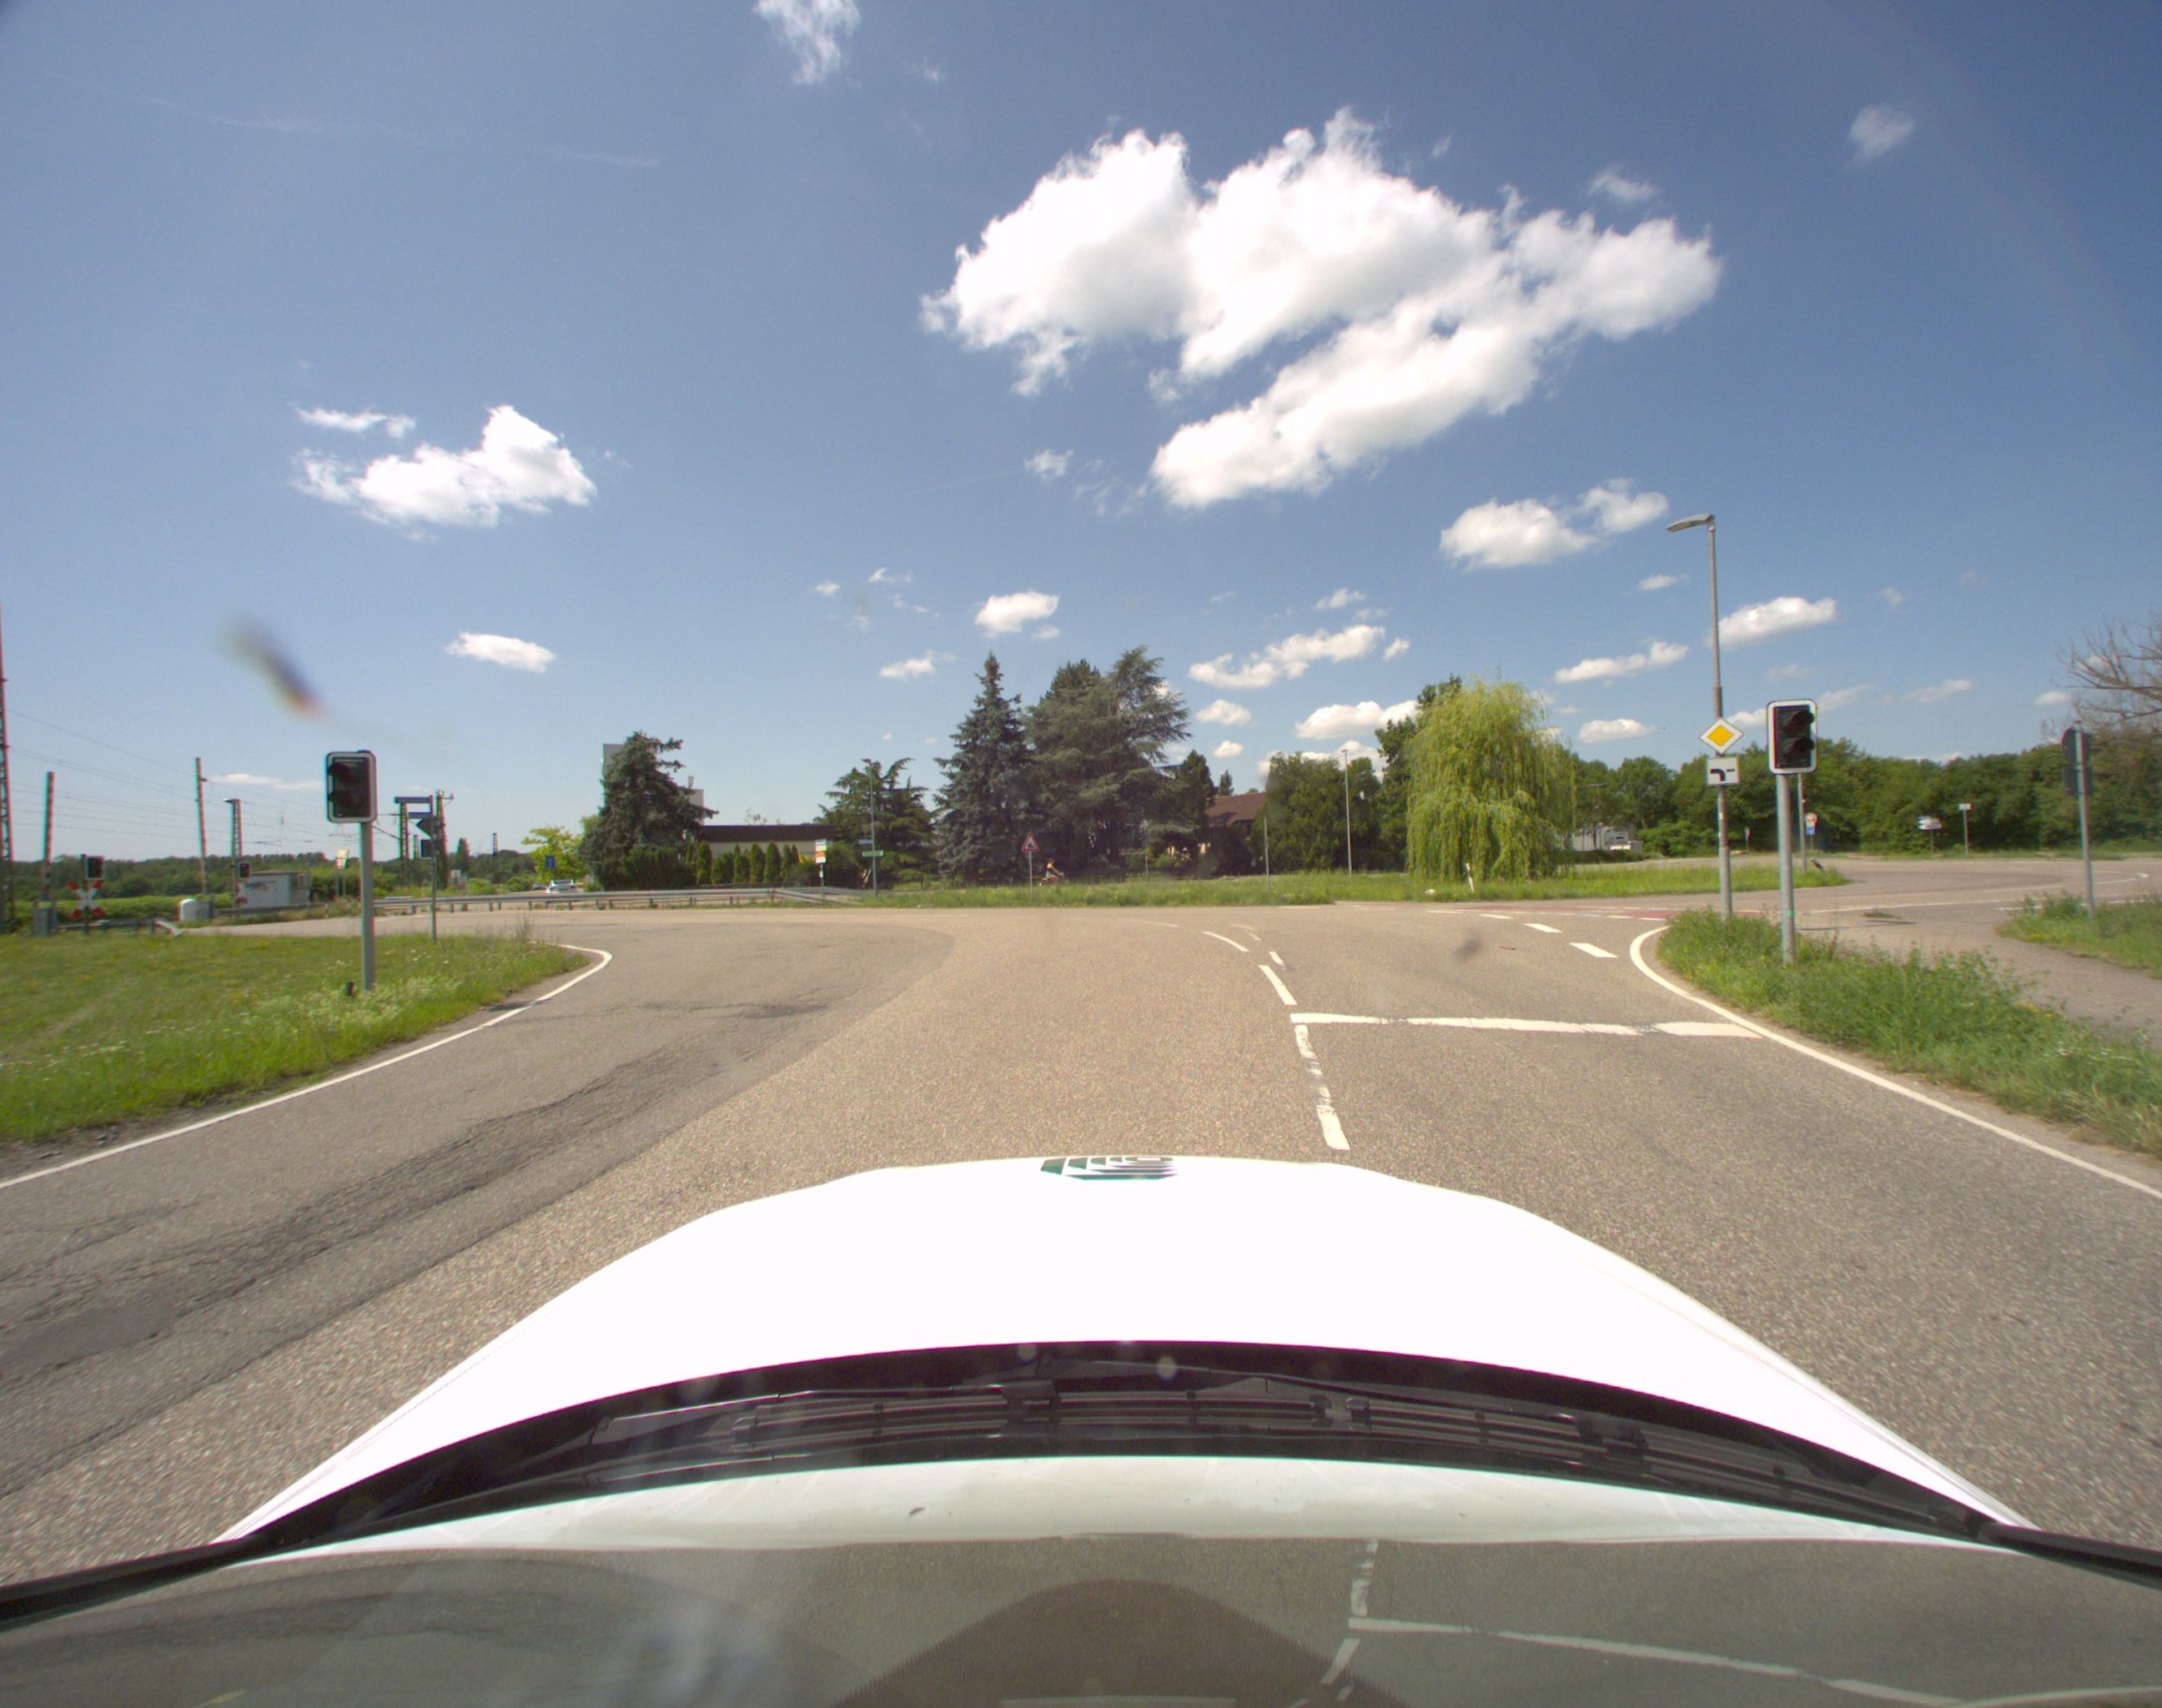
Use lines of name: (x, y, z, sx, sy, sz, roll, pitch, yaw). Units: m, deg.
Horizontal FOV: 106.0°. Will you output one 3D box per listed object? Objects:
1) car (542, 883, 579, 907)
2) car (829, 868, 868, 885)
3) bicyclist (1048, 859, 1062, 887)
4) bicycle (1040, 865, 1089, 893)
car: (-36.696, 2.825, 57.389, 2.008, 1.510, 4.406, -2, 0, -34)
car: (-24.180, 2.301, 84.741, 3.548, 1.585, 1.549, -2, 0, -32)
bicyclist: (-1.186, 0.846, 37.040, 0.510, 1.255, 0.468, -2, -1, -10)
bicycle: (-0.771, 1.124, 37.129, 2.140, 1.165, 0.659, -2, 0, -11)
